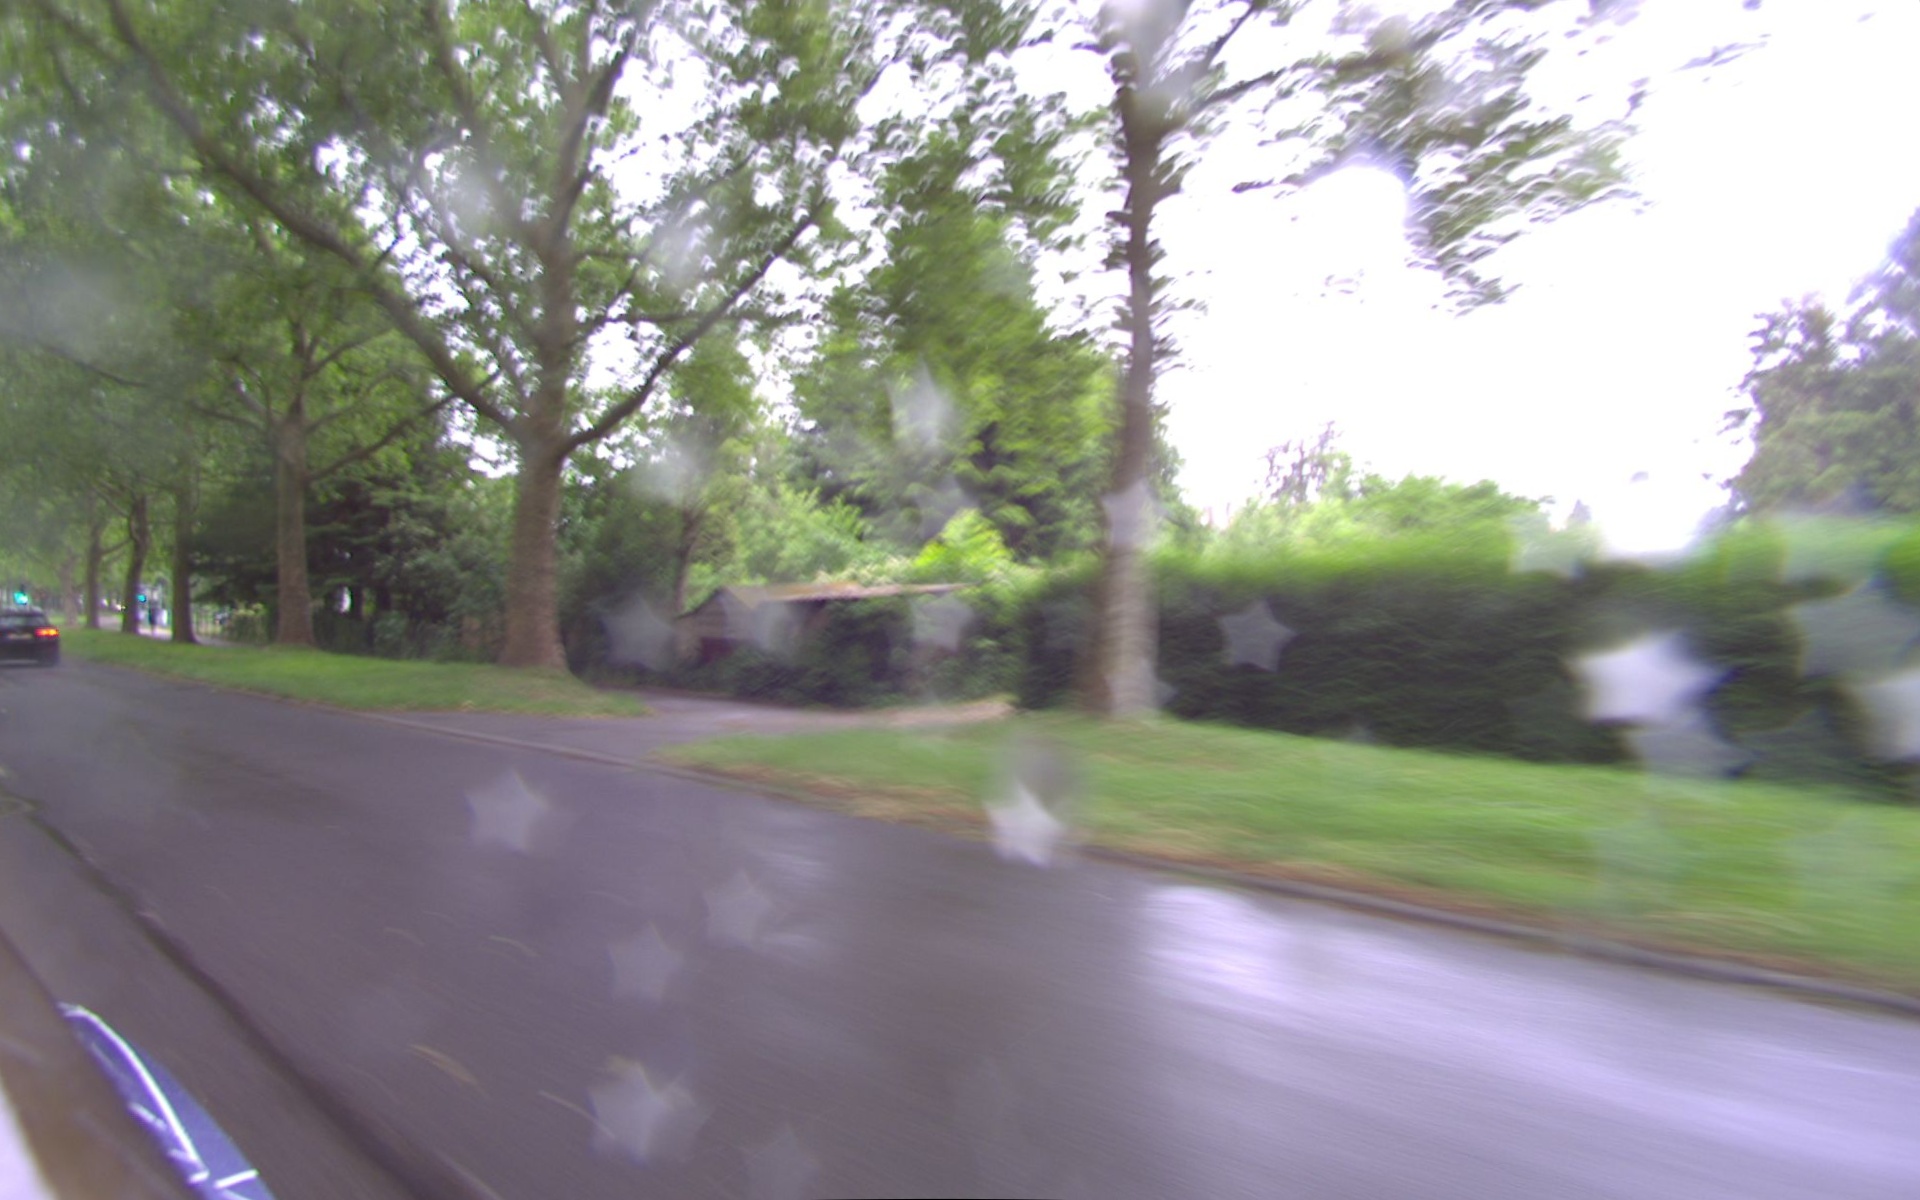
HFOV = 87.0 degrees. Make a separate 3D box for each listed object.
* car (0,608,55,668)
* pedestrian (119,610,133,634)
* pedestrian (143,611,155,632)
[{"bbox_3d":[-26.030,1.002,27.327,3.997,1.513,1.827,-1,1,40],"label":"car"},{"bbox_3d":[-52.045,1.340,63.164,0.591,1.464,0.857,-2,1,-45],"label":"pedestrian"},{"bbox_3d":[-51.273,1.359,63.975,0.510,1.271,0.849,-2,1,-45],"label":"pedestrian"}]
